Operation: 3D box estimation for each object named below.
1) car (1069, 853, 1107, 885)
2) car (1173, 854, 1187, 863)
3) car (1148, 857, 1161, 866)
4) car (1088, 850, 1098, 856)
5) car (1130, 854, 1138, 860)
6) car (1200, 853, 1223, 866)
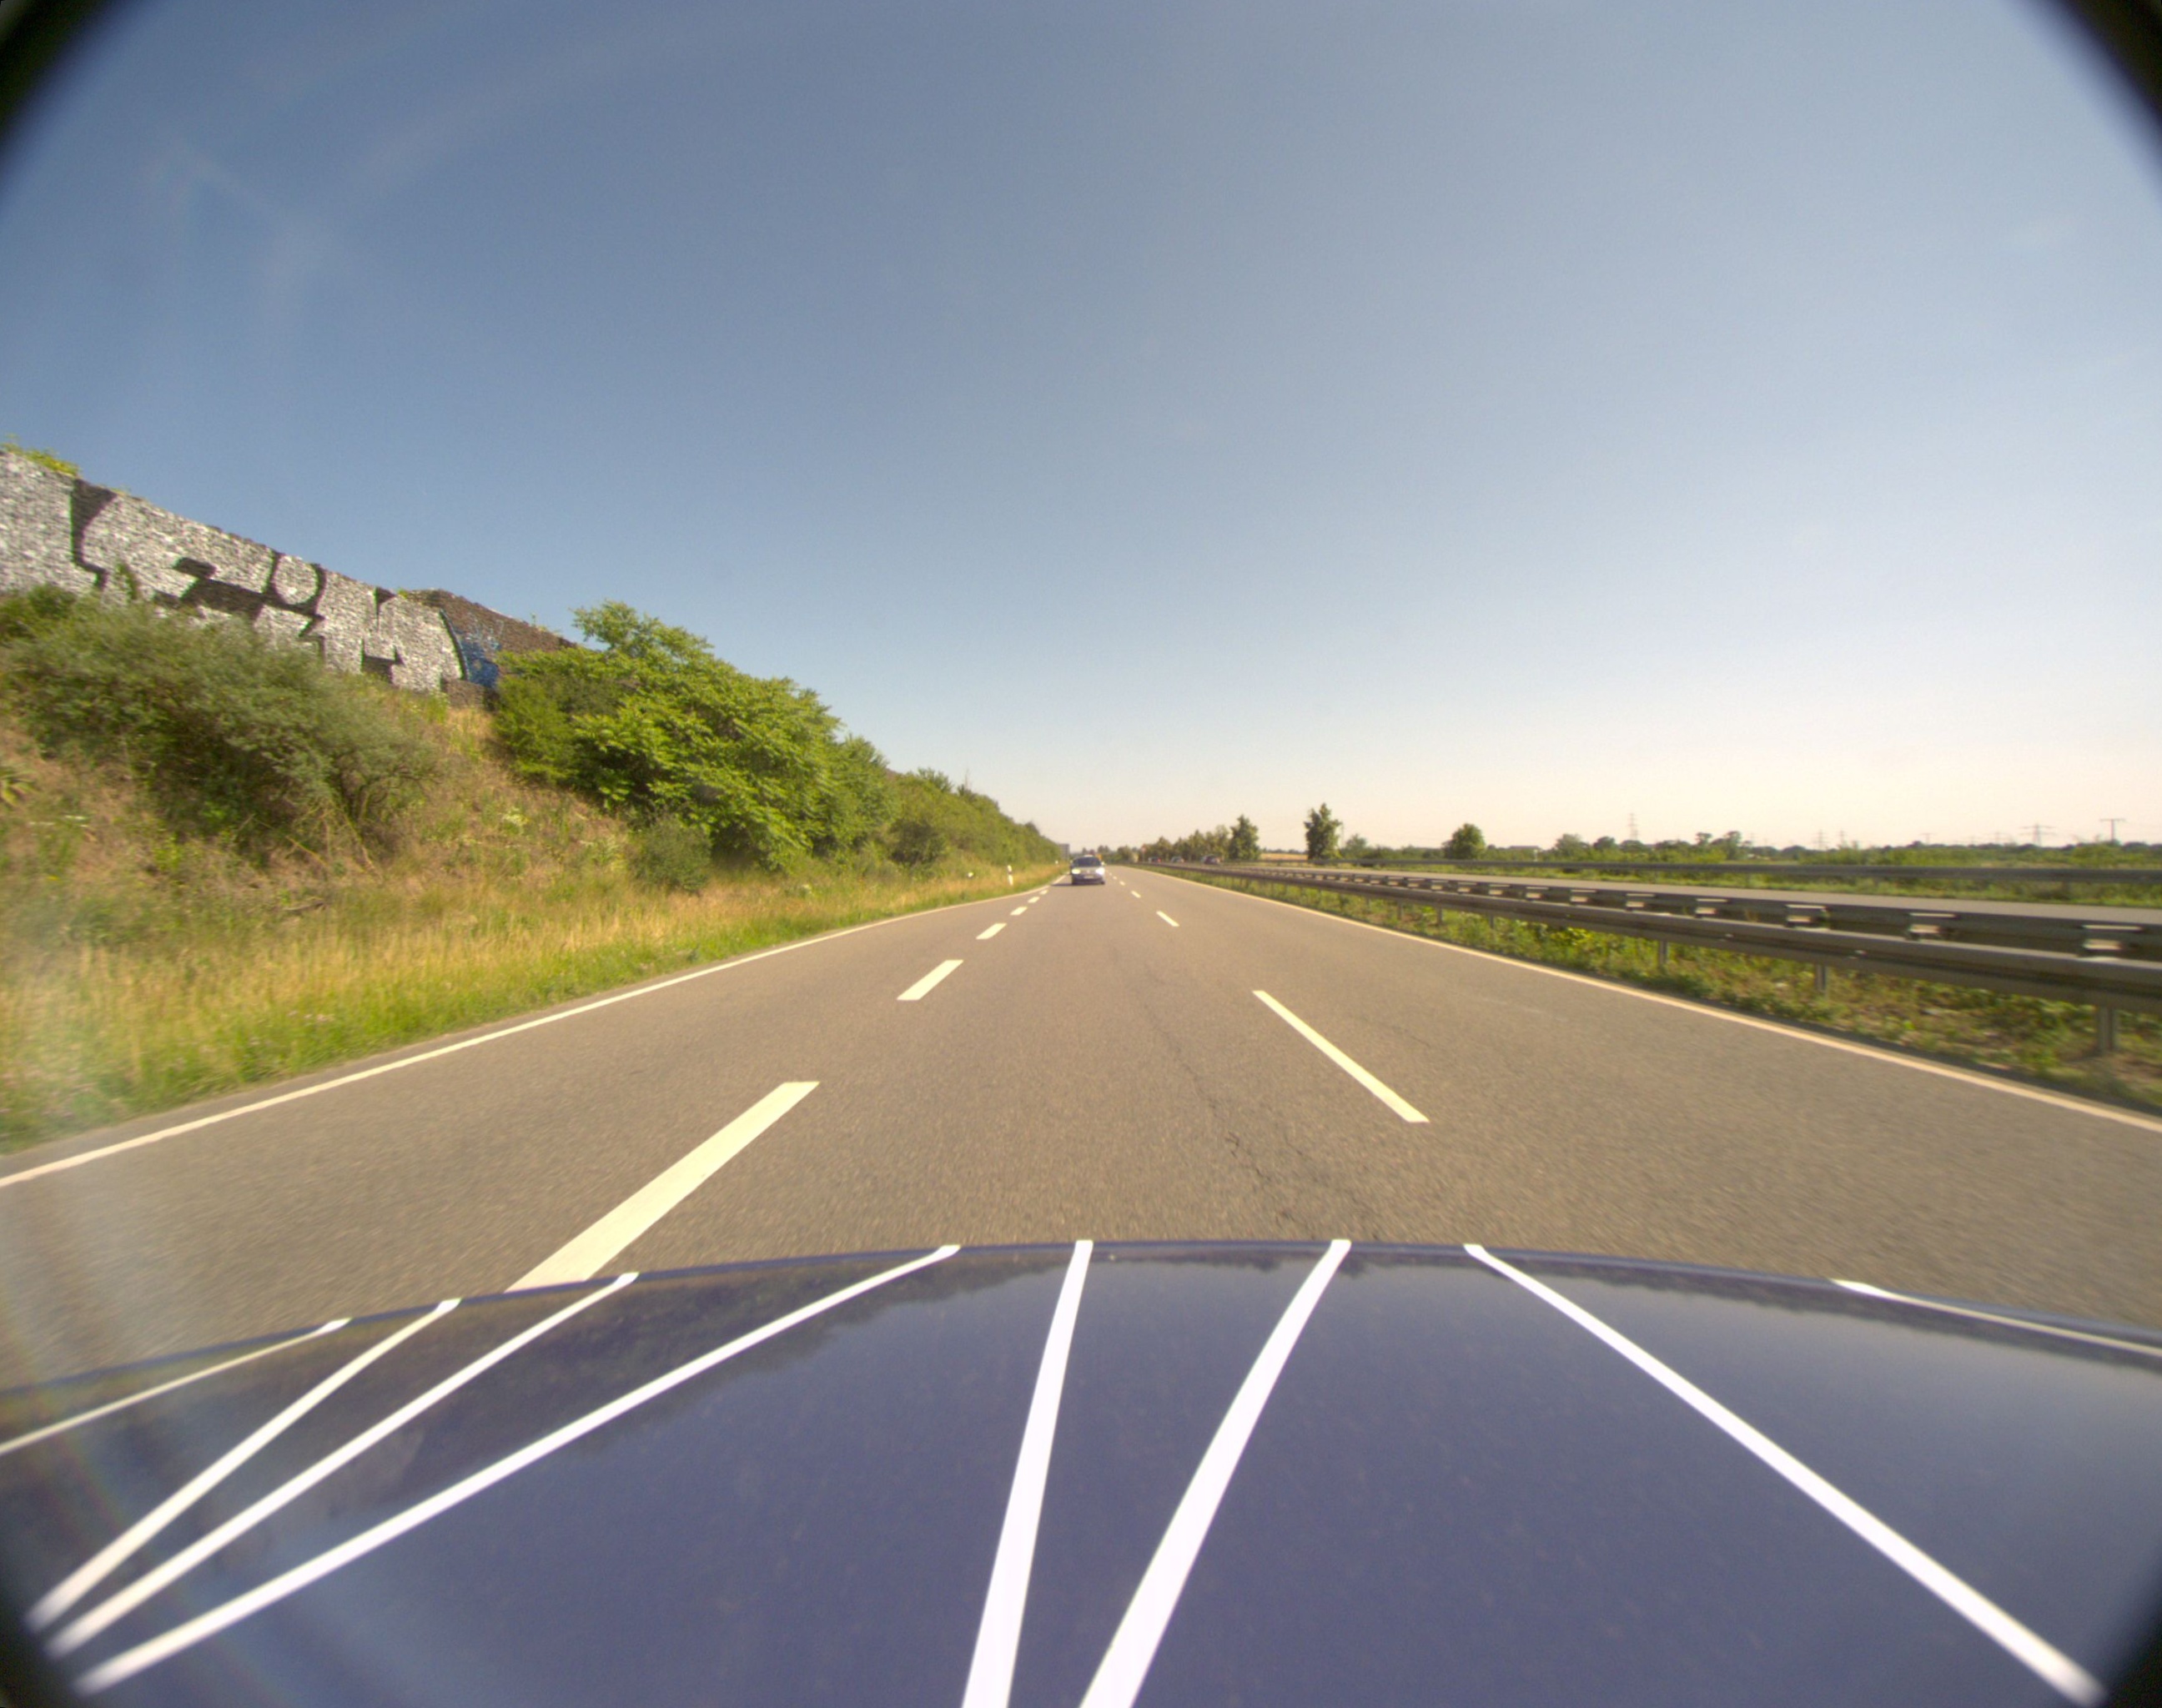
[{"bbox_3d":[0.432,0.778,41.909,1.854,1.635,4.001,-1,1,4],"label":"car"},{"bbox_3d":[16.096,0.698,123.583,1.717,1.442,4.323,-1,0,-1],"label":"car"},{"bbox_3d":[12.213,1.226,126.283,1.819,1.464,4.323,-3,0,1],"label":"car"},{"bbox_3d":[2.274,-0.207,144.466,1.790,1.212,3.999,-1,0,0],"label":"car"},{"bbox_3d":[13.281,0.770,189.521,1.717,1.461,4.415,-3,0,1],"label":"car"},{"bbox_3d":[15.859,0.650,92.637,1.872,1.426,4.935,-3,0,0],"label":"car"}]
